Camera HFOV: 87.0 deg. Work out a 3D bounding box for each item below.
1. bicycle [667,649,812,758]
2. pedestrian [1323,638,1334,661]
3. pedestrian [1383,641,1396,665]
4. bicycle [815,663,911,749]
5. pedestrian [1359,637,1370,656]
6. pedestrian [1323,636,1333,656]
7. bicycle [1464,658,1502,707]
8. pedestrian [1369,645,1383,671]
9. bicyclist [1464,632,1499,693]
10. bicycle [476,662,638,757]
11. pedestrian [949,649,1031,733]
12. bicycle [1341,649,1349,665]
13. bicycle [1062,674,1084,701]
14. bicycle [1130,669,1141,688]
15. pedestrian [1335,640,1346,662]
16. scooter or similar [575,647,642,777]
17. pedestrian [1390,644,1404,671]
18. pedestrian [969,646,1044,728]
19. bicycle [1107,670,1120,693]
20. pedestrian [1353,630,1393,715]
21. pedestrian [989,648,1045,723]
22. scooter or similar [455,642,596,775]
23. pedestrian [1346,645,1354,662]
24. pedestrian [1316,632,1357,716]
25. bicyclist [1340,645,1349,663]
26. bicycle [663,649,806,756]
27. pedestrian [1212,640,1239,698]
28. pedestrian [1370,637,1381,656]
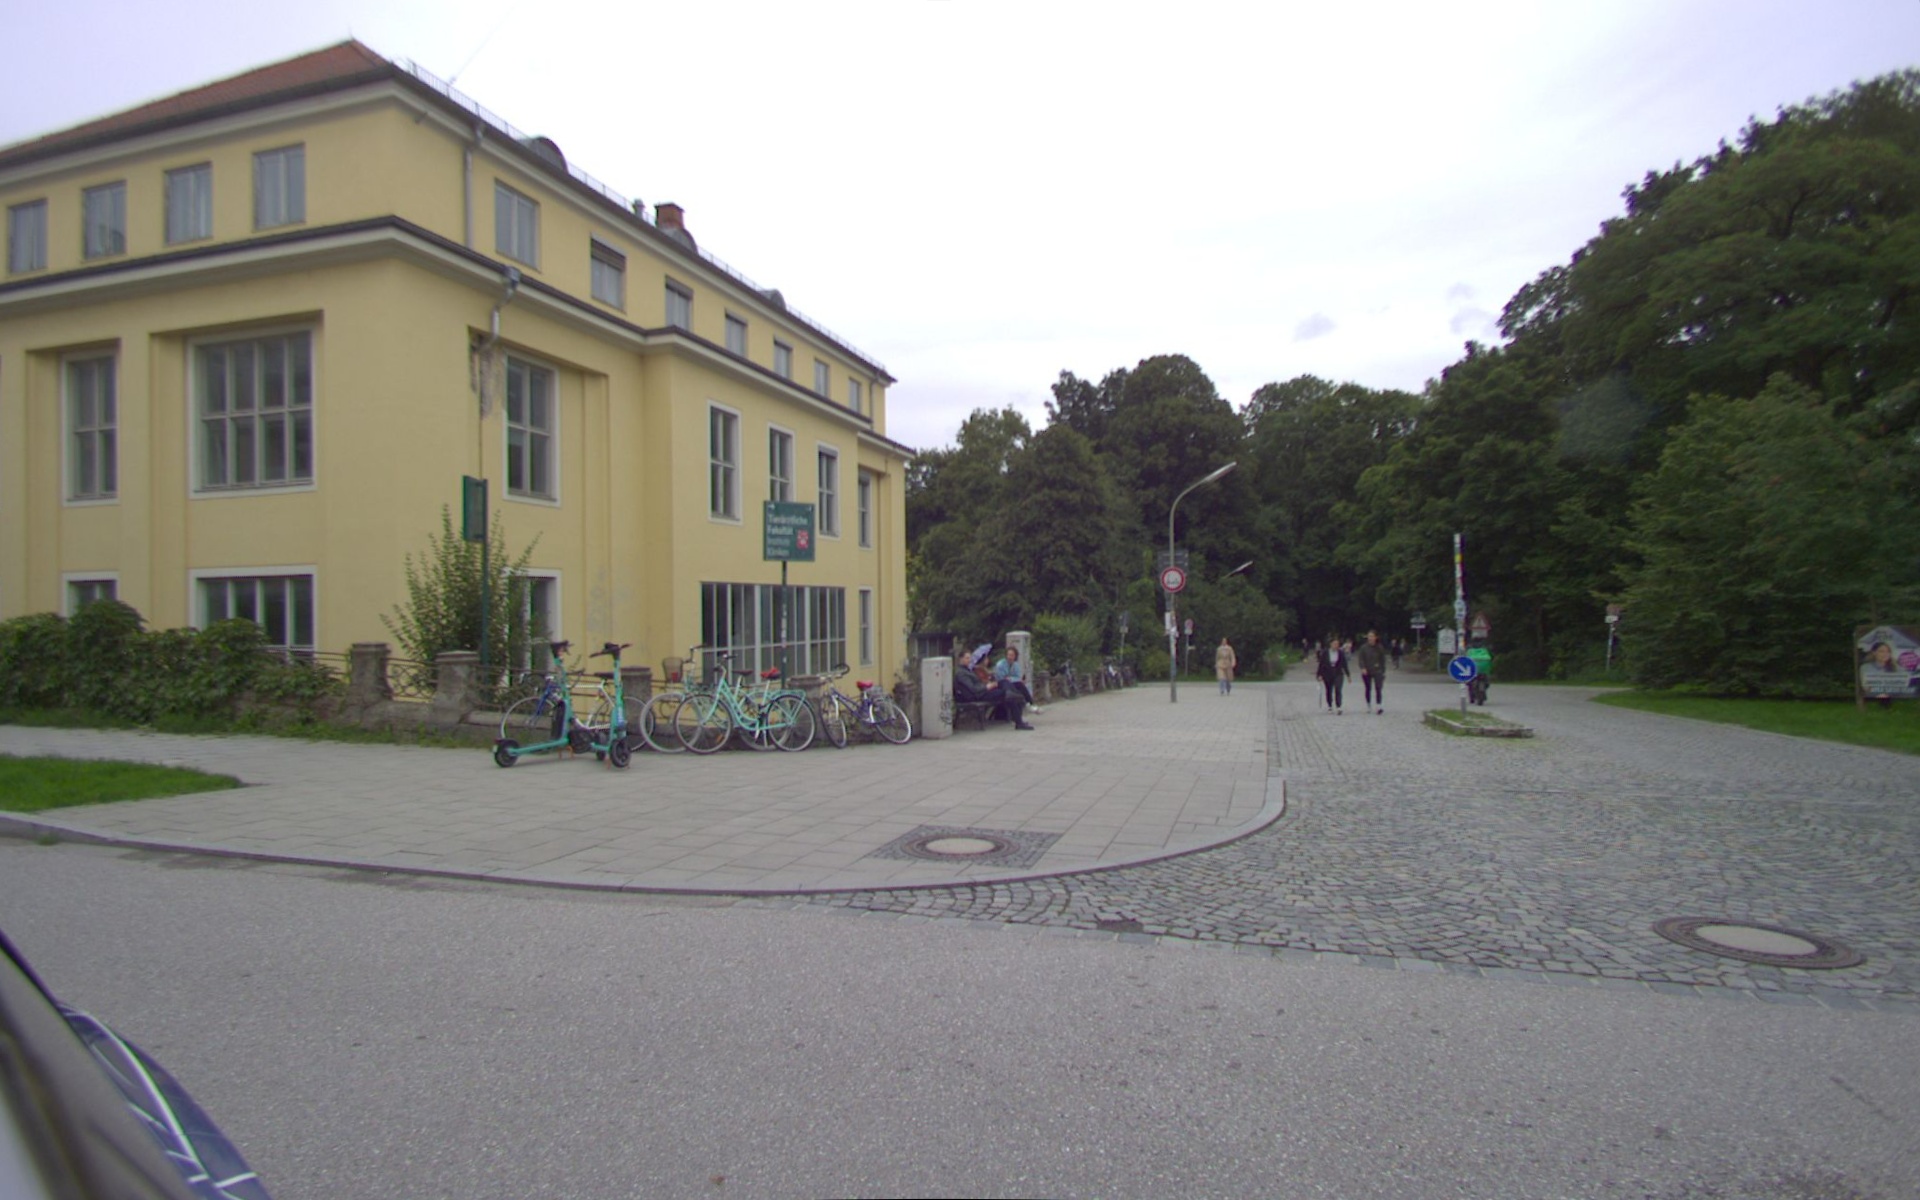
[{"bbox_3d":[-2.543,1.197,11.792,1.626,1.207,0.170,3,-3,-31],"label":"bicycle"},{"bbox_3d":[28.026,3.762,77.013,0.681,1.685,0.769,-3,-5,18],"label":"pedestrian"},{"bbox_3d":[31.413,3.869,74.030,0.681,1.685,0.769,-3,-5,18],"label":"pedestrian"},{"bbox_3d":[-1.242,1.360,13.276,0.306,1.046,1.636,0,-3,32],"label":"bicycle"},{"bbox_3d":[35.789,4.121,89.487,0.737,1.685,0.915,-3,-5,18],"label":"pedestrian"},{"bbox_3d":[31.019,3.884,85.252,0.681,1.685,0.769,-3,-5,18],"label":"pedestrian"},{"bbox_3d":[11.950,1.865,23.166,0.460,1.068,1.751,-1,-3,17],"label":"bicycle"},{"bbox_3d":[26.867,3.755,65.407,0.681,1.685,0.769,-3,-5,18],"label":"pedestrian"},{"bbox_3d":[11.936,1.429,23.181,0.559,1.385,0.757,-1,-3,18],"label":"bicyclist"},{"bbox_3d":[-4.487,1.219,11.309,1.629,1.001,0.249,2,-3,-6],"label":"bicycle"},{"bbox_3d":[0.475,1.413,15.770,1.202,1.257,0.638,-2,-5,8],"label":"pedestrian"},{"bbox_3d":[27.795,4.107,73.101,0.460,1.068,1.751,-1,1,17],"label":"bicycle"},{"bbox_3d":[2.873,2.219,25.751,0.214,0.681,0.900,0,-3,29],"label":"bicycle"},{"bbox_3d":[6.357,2.828,36.660,0.240,0.662,0.903,1,-3,18],"label":"bicycle"},{"bbox_3d":[29.201,3.911,77.716,0.681,1.685,0.769,-3,-5,18],"label":"pedestrian"},{"bbox_3d":[-3.539,1.084,10.153,0.318,1.222,1.120,2,-3,-35],"label":"scooter or similar"},{"bbox_3d":[27.600,3.653,63.958,0.681,1.685,0.769,-3,-5,18],"label":"pedestrian"},{"bbox_3d":[0.770,1.433,16.660,1.164,1.303,0.638,-2,-5,8],"label":"pedestrian"},{"bbox_3d":[4.917,2.605,32.390,0.214,0.681,0.903,1,-3,20],"label":"bicycle"},{"bbox_3d":[8.438,1.483,20.698,0.634,1.685,0.769,-3,-5,18],"label":"pedestrian"},{"bbox_3d":[0.978,1.461,17.274,0.877,1.244,0.549,-2,-5,7],"label":"pedestrian"},{"bbox_3d":[-4.405,1.063,10.342,0.395,1.257,1.377,-1,-3,26],"label":"scooter or similar"},{"bbox_3d":[29.910,4.069,77.616,0.468,1.275,0.445,-1,-5,18],"label":"pedestrian"},{"bbox_3d":[7.752,1.533,20.885,0.681,1.685,0.769,-3,-5,18],"label":"pedestrian"},{"bbox_3d":[27.790,3.903,73.104,0.559,1.275,0.757,-1,1,18],"label":"bicyclist"},{"bbox_3d":[-2.641,1.209,11.965,1.626,1.200,0.203,3,-3,-31],"label":"bicycle"},{"bbox_3d":[8.056,2.099,30.682,0.649,1.699,0.969,-3,-5,18],"label":"pedestrian"},{"bbox_3d":[36.581,4.110,89.194,0.737,1.685,0.915,-3,-5,18],"label":"pedestrian"}]
